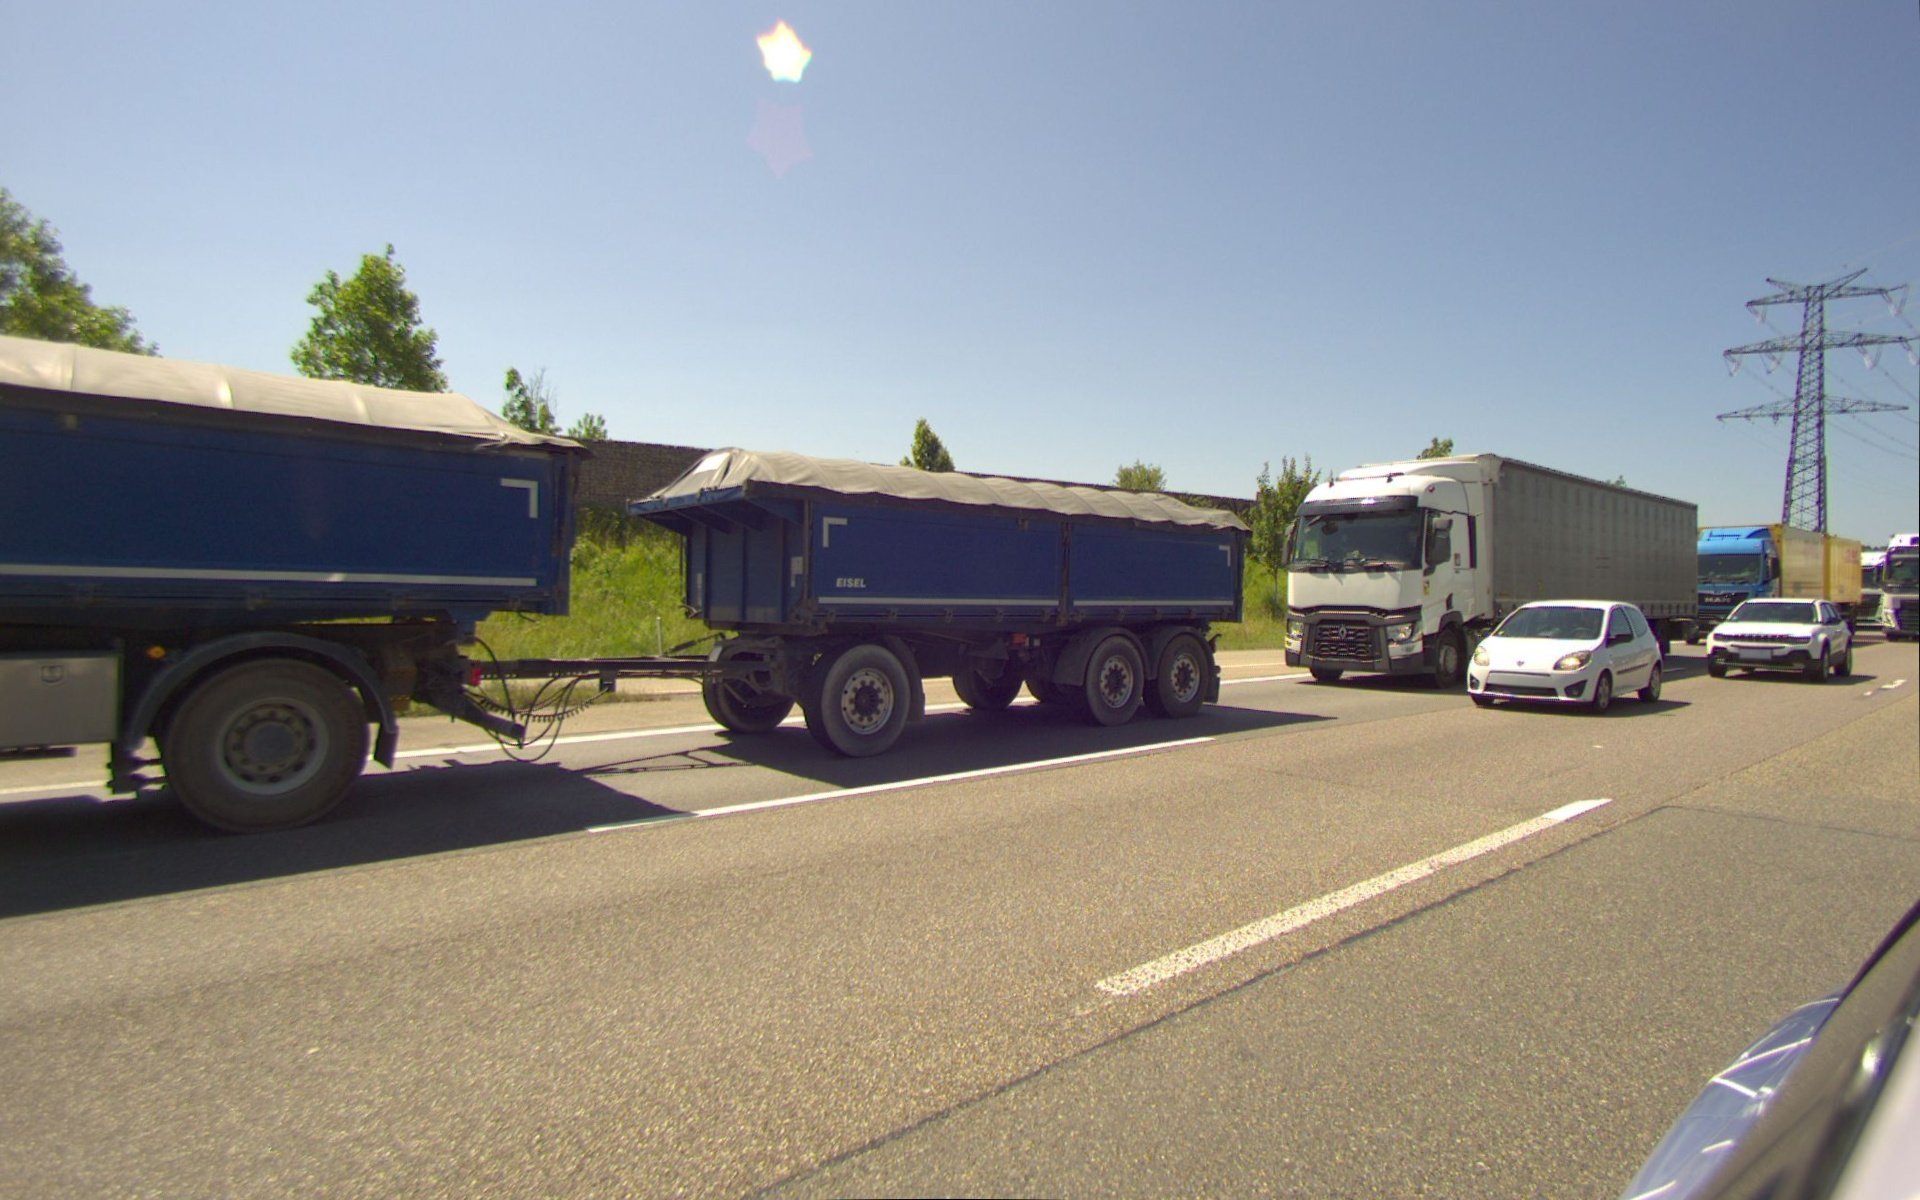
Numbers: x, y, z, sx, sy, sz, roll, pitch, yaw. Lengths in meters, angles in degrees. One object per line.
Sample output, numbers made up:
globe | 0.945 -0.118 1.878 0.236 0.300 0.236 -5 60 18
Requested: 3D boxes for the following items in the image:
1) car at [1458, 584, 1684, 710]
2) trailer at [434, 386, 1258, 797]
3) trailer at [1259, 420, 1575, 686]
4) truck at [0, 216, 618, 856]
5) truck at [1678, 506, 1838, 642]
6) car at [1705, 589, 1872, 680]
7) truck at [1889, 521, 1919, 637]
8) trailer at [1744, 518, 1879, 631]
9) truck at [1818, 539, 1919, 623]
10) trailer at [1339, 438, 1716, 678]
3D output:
car | 8.728 0.555 14.340 3.759 1.529 1.658 -1 0 -41
trailer | -0.492 -0.101 11.041 8.955 2.872 2.748 -1 0 -41
trailer | 8.599 -0.725 18.740 6.297 4.095 2.929 0 -1 -41
truck | -6.072 -0.338 6.220 7.006 3.354 2.748 1 -1 -41
truck | 28.071 -0.789 35.362 9.781 4.162 2.769 0 -1 -42
car | 16.064 0.589 19.569 3.783 1.549 1.775 -1 0 -39
truck | 39.597 -0.776 39.694 14.000 4.090 2.716 0 0 -39
trailer | 35.015 -0.925 41.456 9.212 4.170 2.770 0 -1 -41
truck | 47.479 -0.947 52.536 11.097 3.980 2.693 0 0 -40
trailer | 13.423 -0.721 22.875 13.509 4.101 2.967 0 0 -41
